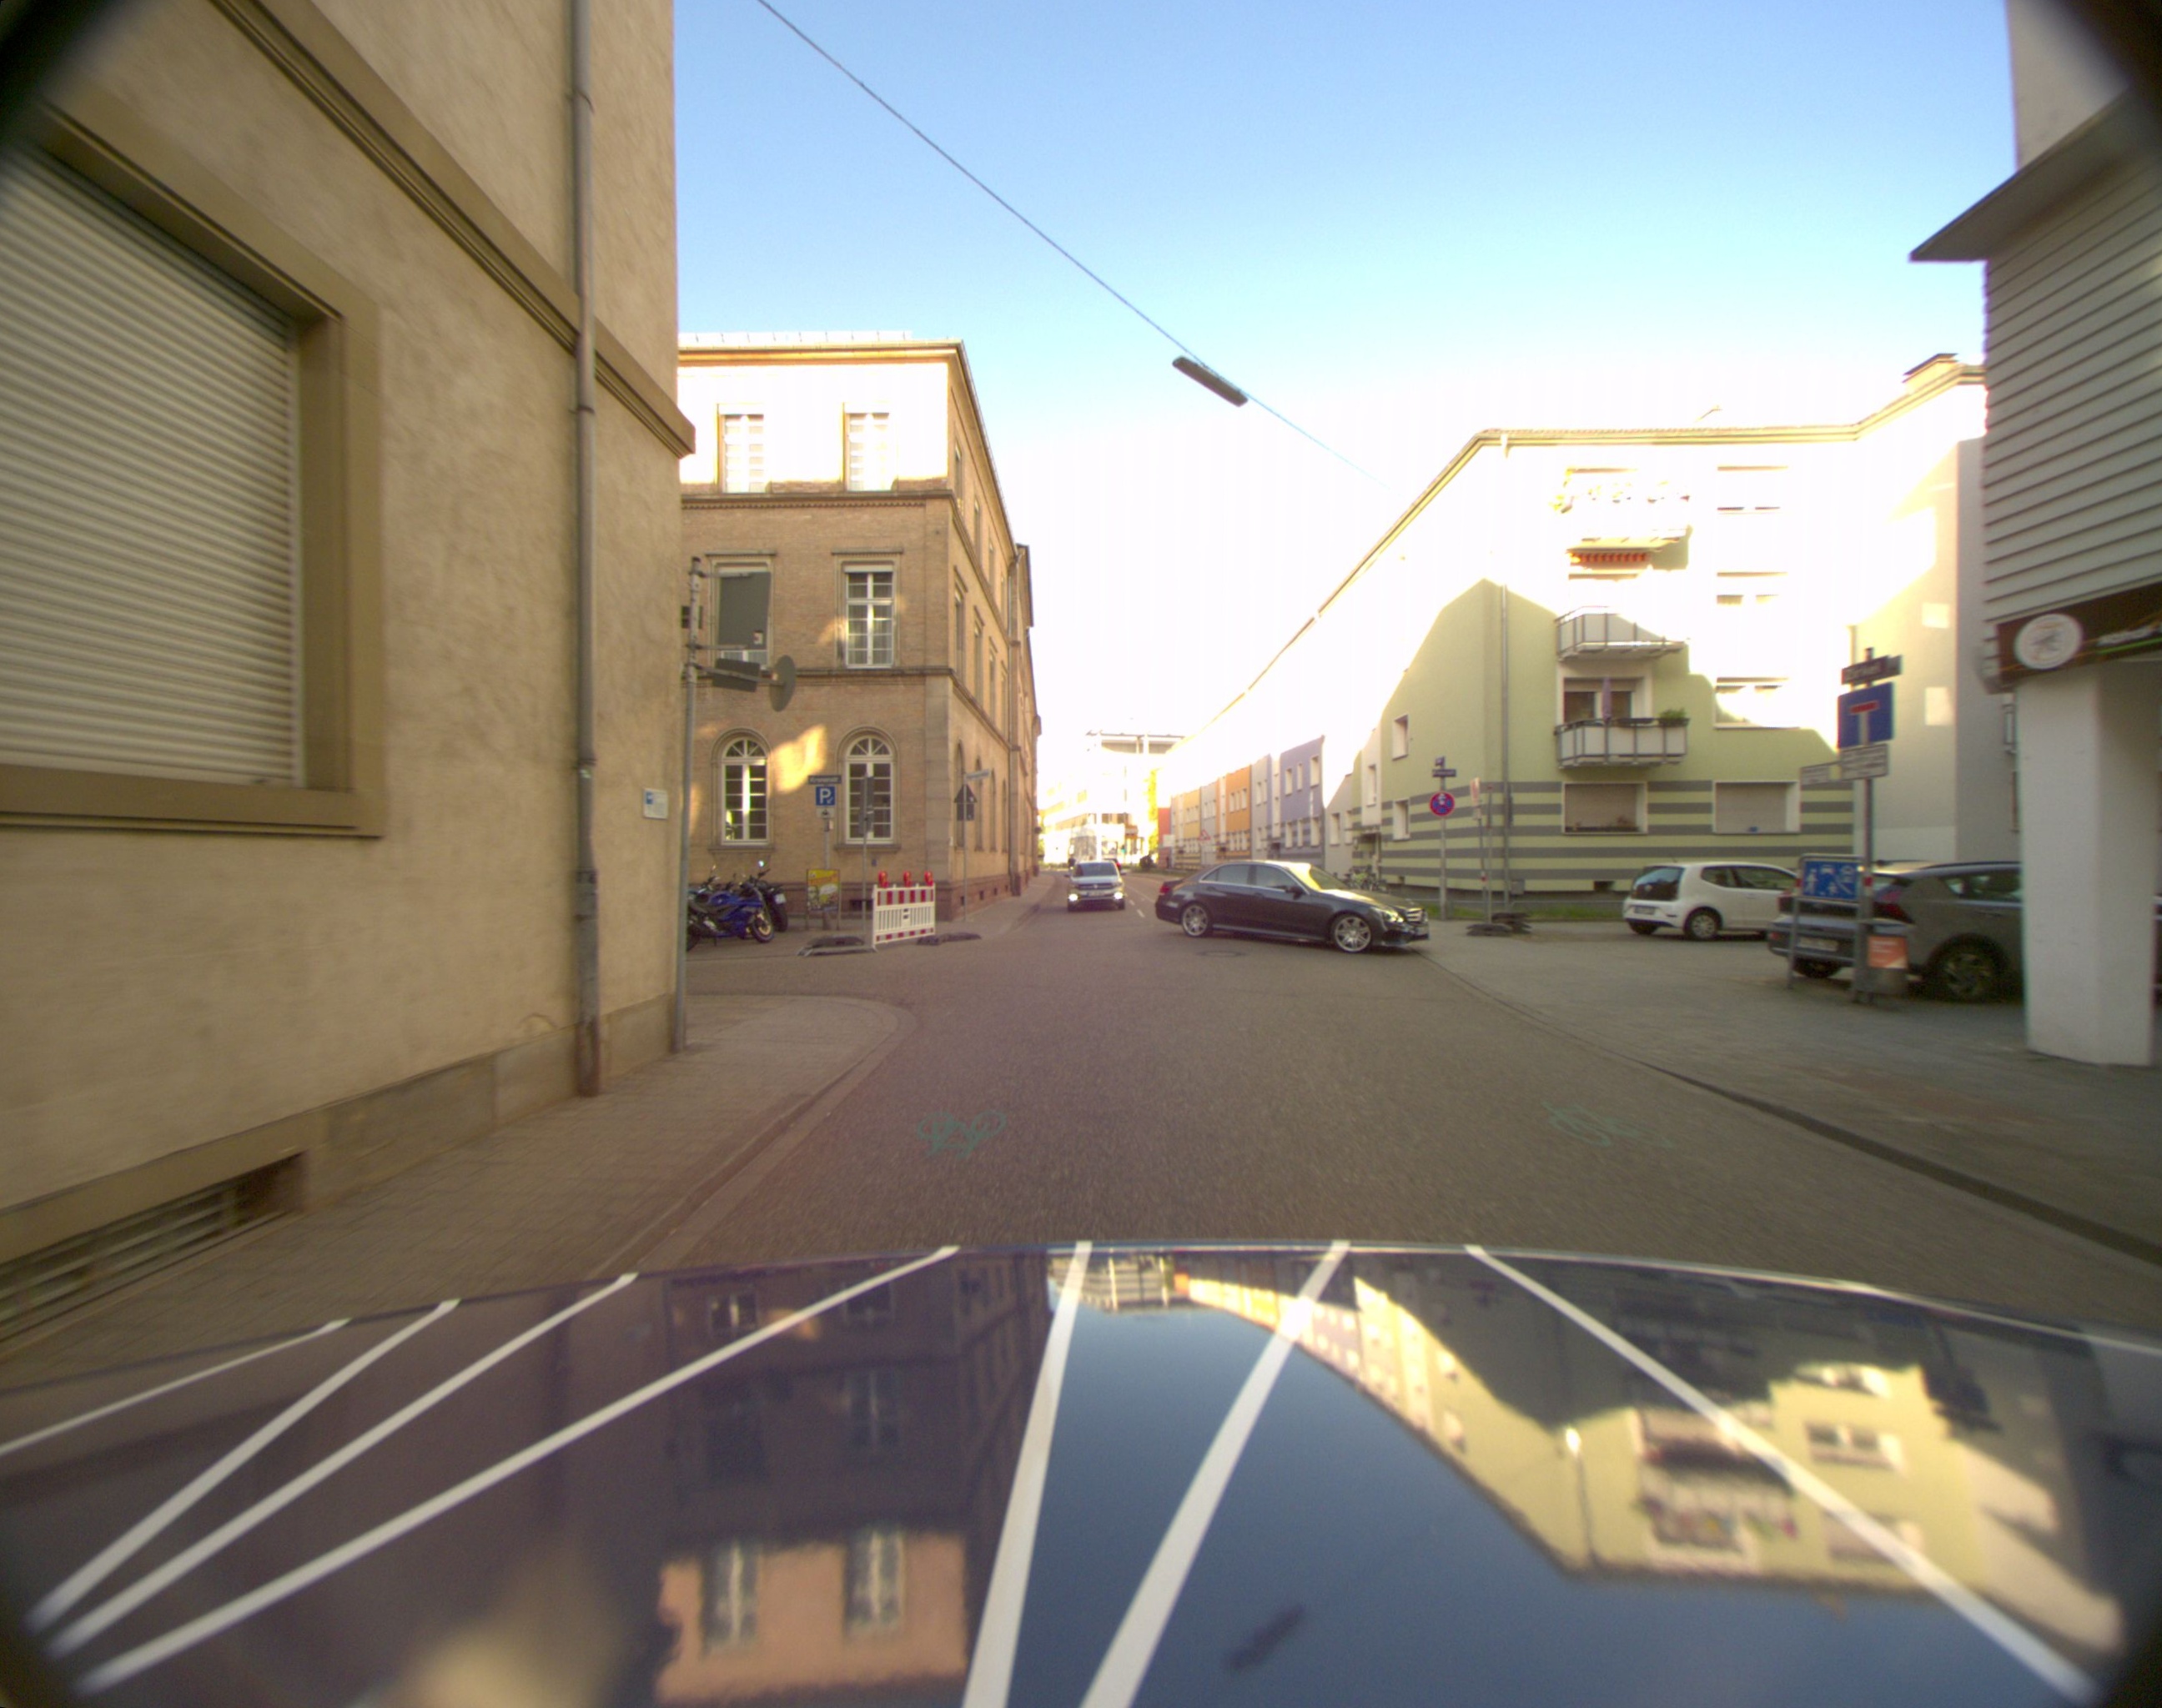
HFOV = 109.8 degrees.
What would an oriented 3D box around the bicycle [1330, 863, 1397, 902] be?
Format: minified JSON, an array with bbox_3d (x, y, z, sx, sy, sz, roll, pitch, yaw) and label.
[{"bbox_3d":[9.108,0.900,24.542,1.820,1.094,0.749,-4,0,1],"label":"bicycle"}]

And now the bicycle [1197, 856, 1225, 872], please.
[{"bbox_3d":[9.438,0.719,55.179,1.807,0.977,0.654,-5,1,-2],"label":"bicycle"}]

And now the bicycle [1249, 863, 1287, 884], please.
[{"bbox_3d":[9.639,1.008,39.140,1.802,0.940,0.388,-4,1,1],"label":"bicycle"}]

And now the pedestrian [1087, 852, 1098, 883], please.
[{"bbox_3d":[0.650,0.781,44.377,0.603,1.770,0.652,-1,1,0],"label":"pedestrian"}]

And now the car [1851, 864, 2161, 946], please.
[{"bbox_3d":[17.534,0.908,14.296,4.326,1.390,1.759,0,0,0],"label":"car"}]

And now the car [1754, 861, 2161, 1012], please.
[{"bbox_3d":[10.401,0.860,8.684,3.942,1.511,1.692,0,0,0],"label":"car"}]

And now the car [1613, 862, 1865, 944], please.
[{"bbox_3d":[12.444,0.893,14.540,3.342,1.428,1.725,0,0,0],"label":"car"}]

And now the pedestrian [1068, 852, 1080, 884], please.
[{"bbox_3d":[-0.417,0.830,45.786,0.677,1.928,0.858,-1,1,0],"label":"pedestrian"}]

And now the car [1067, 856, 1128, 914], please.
[{"bbox_3d":[0.488,0.901,24.080,1.682,1.568,4.242,-3,0,0],"label":"car"}]

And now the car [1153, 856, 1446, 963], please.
[{"bbox_3d":[3.664,0.825,13.414,1.790,1.471,4.657,-4,3,-44],"label":"car"}]

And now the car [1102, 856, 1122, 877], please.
[{"bbox_3d":[2.821,1.155,70.114,1.682,1.776,4.243,-3,0,1],"label":"car"}]

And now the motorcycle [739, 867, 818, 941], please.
[{"bbox_3d":[-6.138,0.962,15.344,2.073,1.325,0.708,1,2,45],"label":"motorcycle"}]

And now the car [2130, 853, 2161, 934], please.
[{"bbox_3d":[23.301,0.751,14.540,4.145,1.601,1.759,0,-1,-2],"label":"car"}]

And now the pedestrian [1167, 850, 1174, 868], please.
[{"bbox_3d":[8.402,0.451,71.412,0.612,1.641,0.447,-1,1,-5],"label":"pedestrian"}]

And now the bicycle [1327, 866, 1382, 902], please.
[{"bbox_3d":[9.501,1.030,26.377,1.738,1.094,0.388,-4,1,-6],"label":"bicycle"}]

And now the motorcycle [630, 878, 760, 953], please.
[{"bbox_3d":[-7.048,1.079,13.944,0.827,1.217,1.958,0,1,45],"label":"motorcycle"}]

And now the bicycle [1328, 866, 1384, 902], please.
[{"bbox_3d":[9.413,1.031,25.974,1.738,1.094,0.388,-4,1,-6],"label":"bicycle"}]

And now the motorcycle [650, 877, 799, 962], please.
[{"bbox_3d":[-6.091,1.070,13.079,0.872,1.218,2.154,3,3,45],"label":"motorcycle"}]

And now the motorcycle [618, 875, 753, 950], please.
[{"bbox_3d":[-7.637,1.082,14.745,0.827,1.280,2.149,0,1,45],"label":"motorcycle"}]
